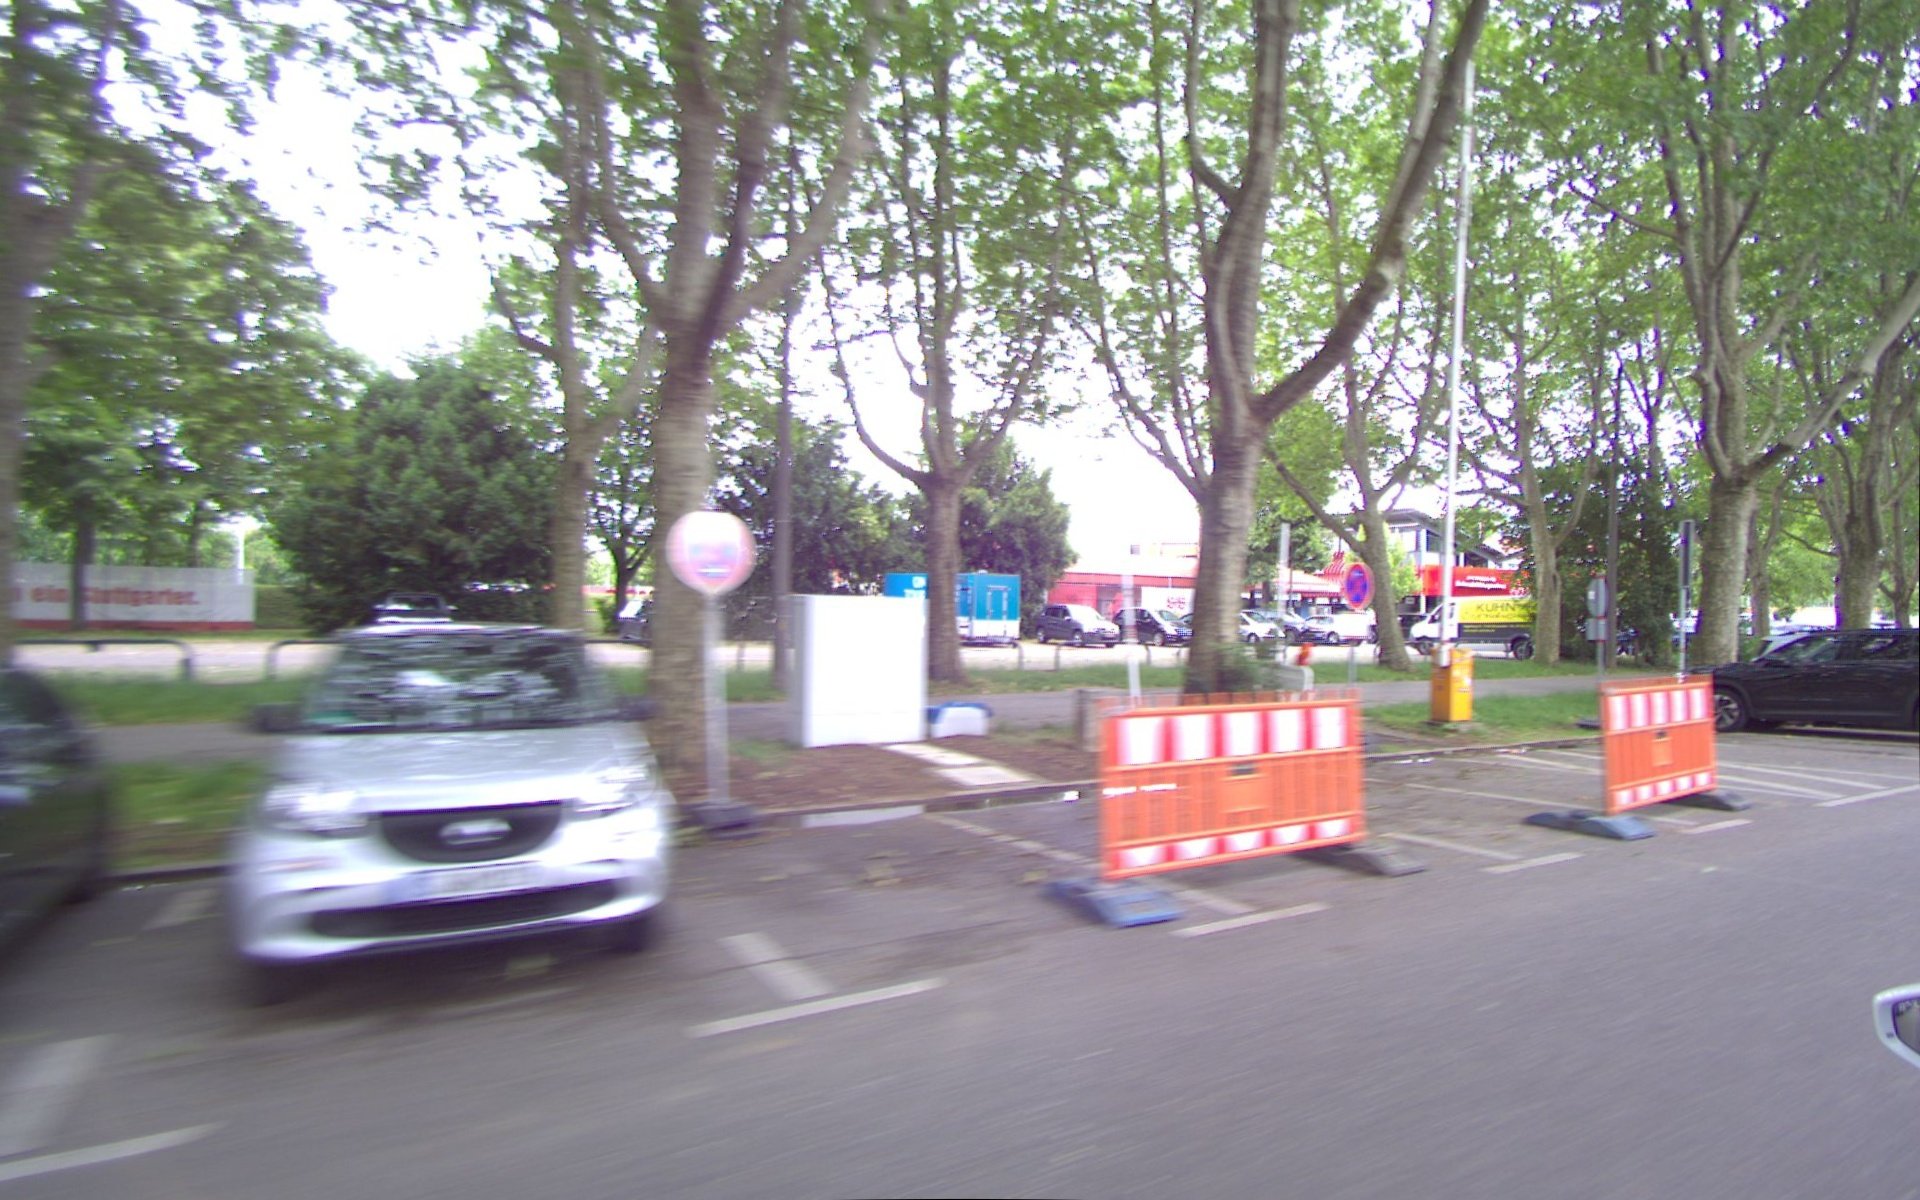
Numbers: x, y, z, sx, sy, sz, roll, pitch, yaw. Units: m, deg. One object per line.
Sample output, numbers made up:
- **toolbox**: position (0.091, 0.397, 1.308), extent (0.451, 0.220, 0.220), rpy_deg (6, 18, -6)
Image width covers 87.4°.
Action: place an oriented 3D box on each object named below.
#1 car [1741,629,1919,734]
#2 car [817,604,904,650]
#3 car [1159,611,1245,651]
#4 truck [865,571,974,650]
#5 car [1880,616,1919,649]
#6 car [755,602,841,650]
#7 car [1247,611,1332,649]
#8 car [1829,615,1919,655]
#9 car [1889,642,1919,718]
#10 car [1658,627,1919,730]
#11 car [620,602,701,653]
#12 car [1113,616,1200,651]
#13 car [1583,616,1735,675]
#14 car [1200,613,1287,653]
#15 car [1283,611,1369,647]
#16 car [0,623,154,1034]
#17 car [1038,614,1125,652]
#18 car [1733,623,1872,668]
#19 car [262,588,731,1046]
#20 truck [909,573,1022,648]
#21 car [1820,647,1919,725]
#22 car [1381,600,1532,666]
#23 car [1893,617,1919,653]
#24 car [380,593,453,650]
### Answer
- **car**: position (16.143, 1.342, 16.853), extent (1.742, 1.698, 4.449), rpy_deg (1, -3, -31)
- **car**: position (-3.645, 0.945, 36.281), extent (1.693, 1.506, 3.782), rpy_deg (1, 0, -31)
- **car**: position (10.737, 1.357, 44.795), extent (1.519, 1.611, 3.734), rpy_deg (1, 0, -32)
- **truck**: position (-1.629, 0.347, 38.380), extent (1.905, 2.779, 5.287), rpy_deg (1, 0, -30)
- **car**: position (61.505, 2.078, 63.052), extent (2.147, 2.041, 5.059), rpy_deg (1, 0, -26)
- **car**: position (-5.721, 0.881, 35.201), extent (1.660, 1.506, 3.782), rpy_deg (1, 0, -31)
- **car**: position (15.476, 1.397, 47.370), extent (1.669, 1.611, 3.979), rpy_deg (1, 0, -21)
- **car**: position (52.097, 1.948, 56.510), extent (2.147, 2.041, 4.336), rpy_deg (1, 0, -26)
- **car**: position (20.493, 1.542, 19.125), extent (1.643, 1.503, 3.795), rpy_deg (1, -3, -31)
- **car**: position (13.880, 1.172, 15.569), extent (1.978, 1.446, 4.641), rpy_deg (1, -3, -31)
- **car**: position (-9.834, 0.853, 32.818), extent (1.660, 1.506, 3.782), rpy_deg (1, 0, -31)
- **car**: position (8.451, 1.420, 43.424), extent (1.519, 1.368, 3.734), rpy_deg (1, 0, -32)
- **car**: position (30.531, 1.928, 44.072), extent (2.147, 2.262, 5.059), rpy_deg (1, 0, -26)
- **car**: position (12.868, 1.478, 45.750), extent (1.519, 1.611, 3.734), rpy_deg (1, 0, -32)
- **car**: position (17.611, 1.375, 48.537), extent (1.669, 1.611, 3.979), rpy_deg (1, 0, -21)
- **car**: position (-4.893, 0.838, 4.366), extent (1.676, 1.448, 4.309), rpy_deg (1, -2, -33)
- **car**: position (4.870, 1.306, 40.643), extent (1.518, 1.368, 3.735), rpy_deg (1, 0, -31)
- **car**: position (43.442, 2.309, 51.916), extent (2.147, 2.041, 5.059), rpy_deg (1, 0, -26)
- **car**: position (-2.728, 0.818, 5.546), extent (1.676, 1.575, 3.805), rpy_deg (1, -2, -33)
- **truck**: position (0.128, 0.374, 40.191), extent (2.180, 2.779, 5.211), rpy_deg (1, 0, -30)
- **car**: position (18.377, 1.543, 17.985), extent (1.850, 1.399, 4.146), rpy_deg (1, -3, -31)
- **car**: position (18.622, 1.165, 37.935), extent (1.518, 2.262, 5.051), rpy_deg (1, 0, -31)
- **car**: position (58.047, 2.112, 58.437), extent (2.147, 2.041, 5.059), rpy_deg (1, 0, -26)
- **car**: position (-15.728, 0.575, 28.996), extent (1.660, 1.506, 3.782), rpy_deg (1, 0, -31)
